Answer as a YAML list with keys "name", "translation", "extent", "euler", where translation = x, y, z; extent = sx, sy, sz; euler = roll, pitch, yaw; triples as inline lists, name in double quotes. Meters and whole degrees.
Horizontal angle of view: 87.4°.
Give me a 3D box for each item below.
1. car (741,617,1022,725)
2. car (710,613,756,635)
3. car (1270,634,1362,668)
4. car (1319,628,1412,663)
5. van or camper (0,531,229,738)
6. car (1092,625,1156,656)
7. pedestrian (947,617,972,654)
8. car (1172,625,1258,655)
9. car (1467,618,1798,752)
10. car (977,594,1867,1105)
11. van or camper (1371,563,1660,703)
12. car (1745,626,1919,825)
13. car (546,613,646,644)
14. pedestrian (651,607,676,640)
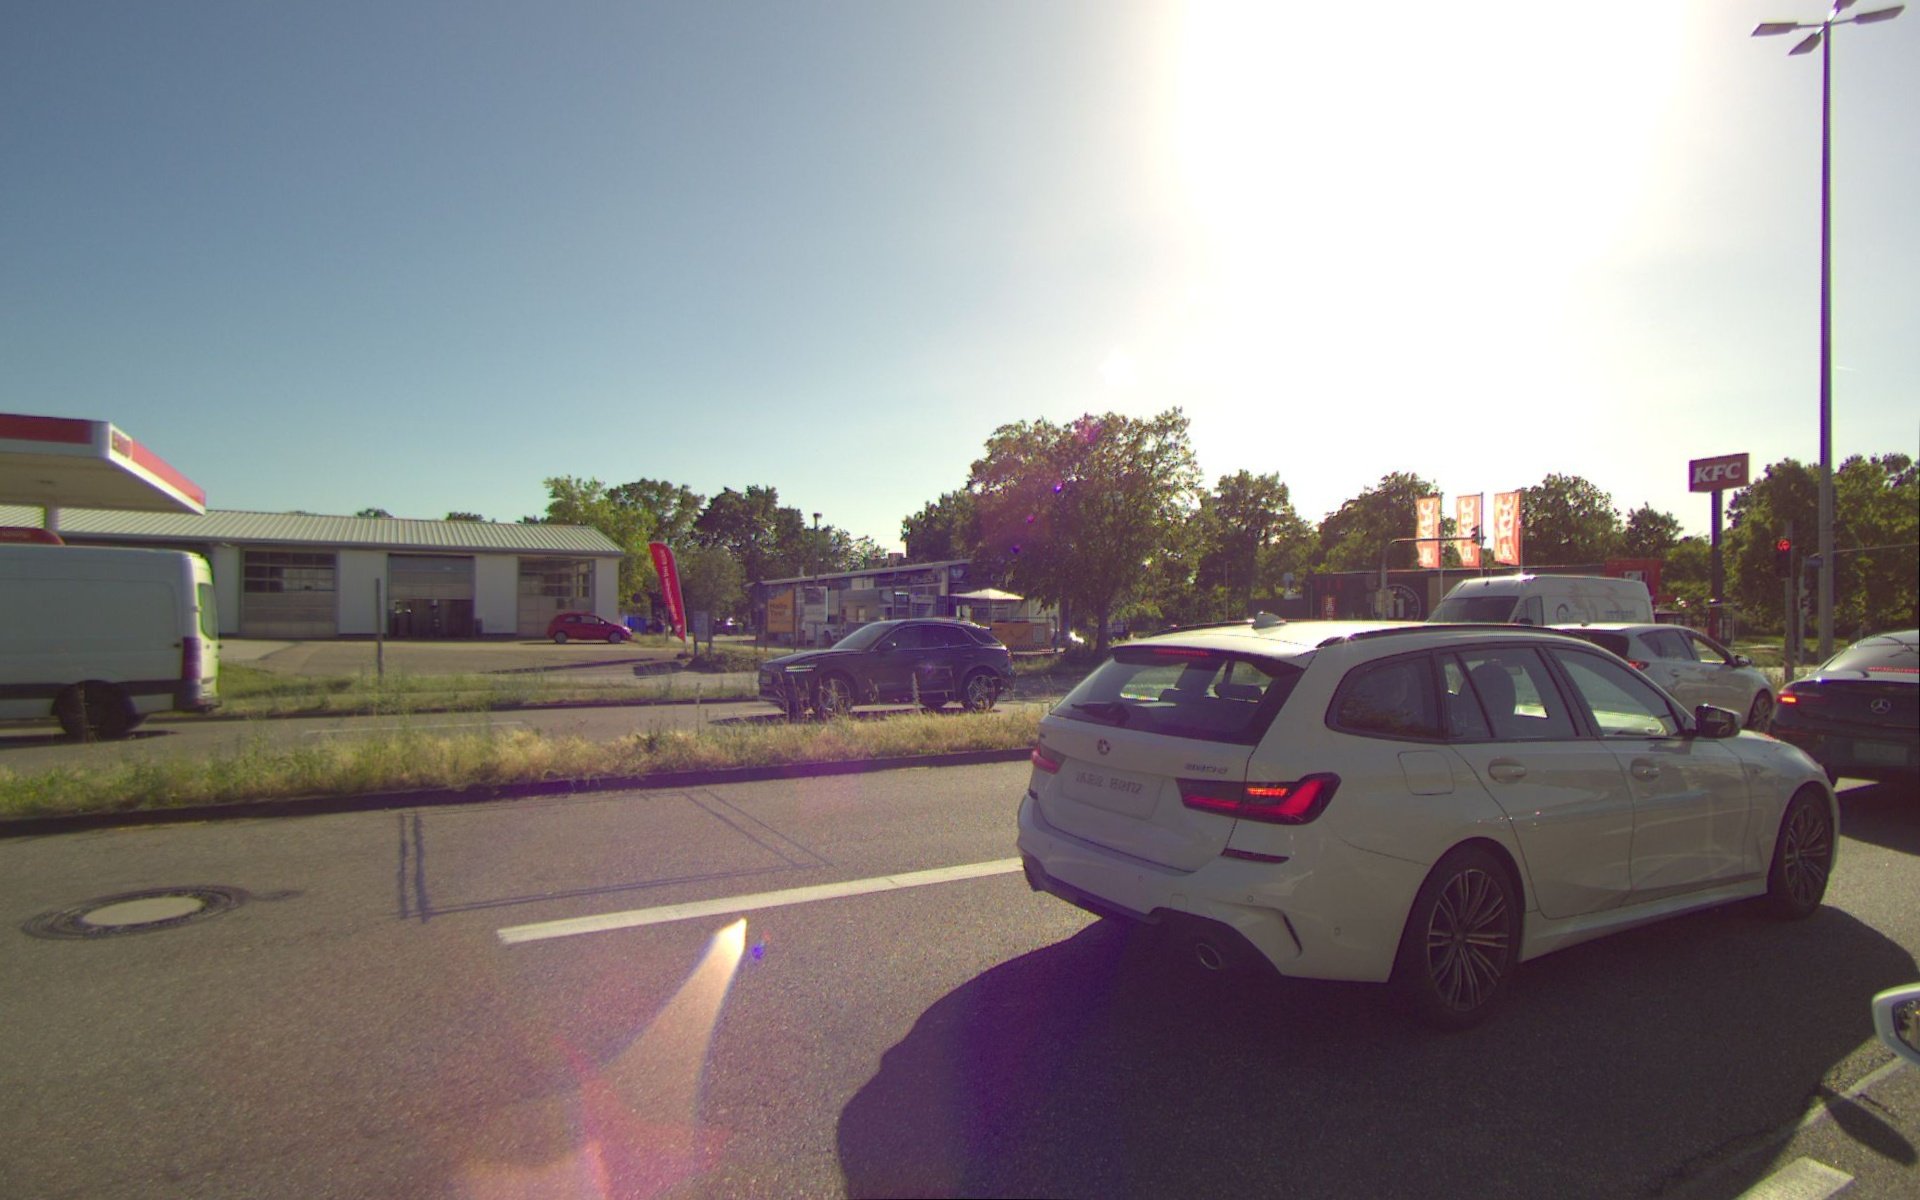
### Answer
- name: "car"
  translation: [-1.335, 1.161, 17.741]
  extent: [4.563, 1.675, 1.983]
  euler: [1, -1, -32]
- name: "car"
  translation: [-19.943, 2.127, 88.253]
  extent: [2.085, 1.840, 4.000]
  euler: [0, -1, 20]
- name: "car"
  translation: [17.011, 2.404, 48.162]
  extent: [1.801, 1.448, 4.022]
  euler: [1, -1, -27]
- name: "car"
  translation: [20.057, 2.225, 49.853]
  extent: [1.804, 1.616, 4.016]
  euler: [1, -1, -32]
- name: "van or camper"
  translation: [-13.594, 0.482, 13.474]
  extent: [5.888, 2.685, 1.984]
  euler: [1, -3, -31]
- name: "car"
  translation: [9.967, 2.432, 61.322]
  extent: [1.738, 1.751, 3.969]
  euler: [1, -1, -29]
- name: "pedestrian"
  translation: [-0.028, 1.790, 51.213]
  extent: [0.806, 1.828, 0.949]
  euler: [0, -1, 41]
- name: "car"
  translation: [13.778, 2.125, 54.520]
  extent: [1.840, 1.449, 4.700]
  euler: [0, 0, -28]
- name: "car"
  translation: [8.695, 0.984, 12.912]
  extent: [4.352, 1.448, 1.848]
  euler: [1, -1, -30]
- name: "car"
  translation: [2.413, 0.791, 4.901]
  extent: [4.409, 1.529, 1.760]
  euler: [1, -1, -30]
- name: "van or camper"
  translation: [11.828, 0.729, 21.231]
  extent: [6.673, 2.606, 2.169]
  euler: [1, -3, -30]
- name: "car"
  translation: [8.791, 0.959, 8.622]
  extent: [4.409, 1.433, 1.760]
  euler: [1, -1, -30]
- name: "car"
  translation: [-17.973, 1.413, 49.576]
  extent: [4.486, 1.458, 1.741]
  euler: [1, -1, -26]
- name: "pedestrian"
  translation: [-16.468, 1.309, 55.755]
  extent: [1.086, 1.787, 1.151]
  euler: [1, -1, -29]
